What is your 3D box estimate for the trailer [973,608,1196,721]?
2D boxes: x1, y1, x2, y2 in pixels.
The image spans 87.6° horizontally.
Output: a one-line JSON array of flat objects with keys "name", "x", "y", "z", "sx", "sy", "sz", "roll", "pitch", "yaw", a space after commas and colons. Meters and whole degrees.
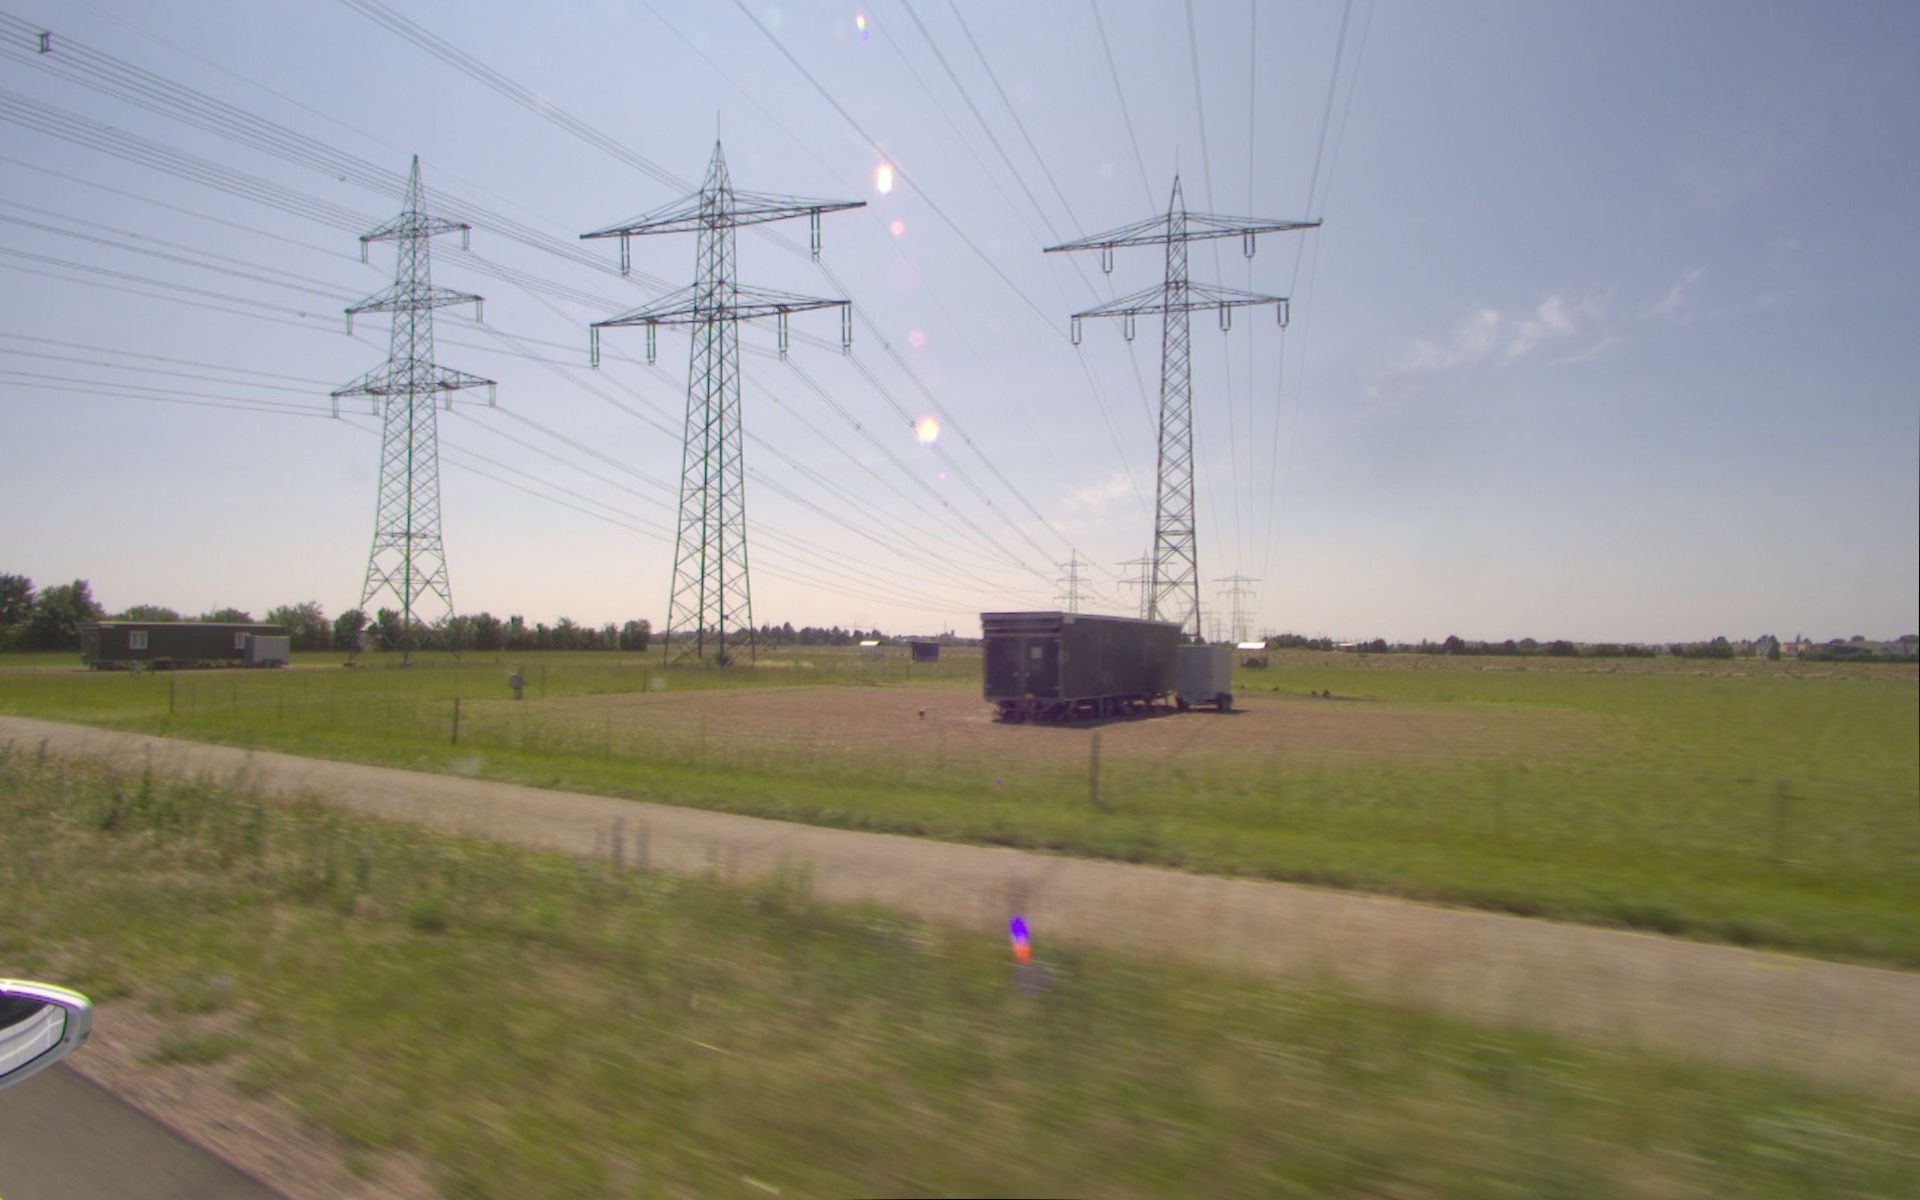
[{"name": "trailer", "x": 5.231, "y": 2.306, "z": 37.701, "sx": 3.228, "sy": 3.518, "sz": 13.496, "roll": 0, "pitch": -3, "yaw": 31}]

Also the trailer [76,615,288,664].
[{"name": "trailer", "x": -59.710, "y": 3.097, "z": 77.464, "sx": 3.747, "sy": 3.516, "sz": 12.404, "roll": 0, "pitch": -3, "yaw": 29}]

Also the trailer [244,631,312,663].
[{"name": "trailer", "x": -54.647, "y": 3.773, "z": 80.303, "sx": 1.969, "sy": 2.473, "sz": 3.987, "roll": 0, "pitch": -2, "yaw": 27}]

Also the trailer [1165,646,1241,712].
[{"name": "trailer", "x": 9.706, "y": 3.085, "z": 39.826, "sx": 2.008, "sy": 2.493, "sz": 3.404, "roll": 0, "pitch": -2, "yaw": 31}]
